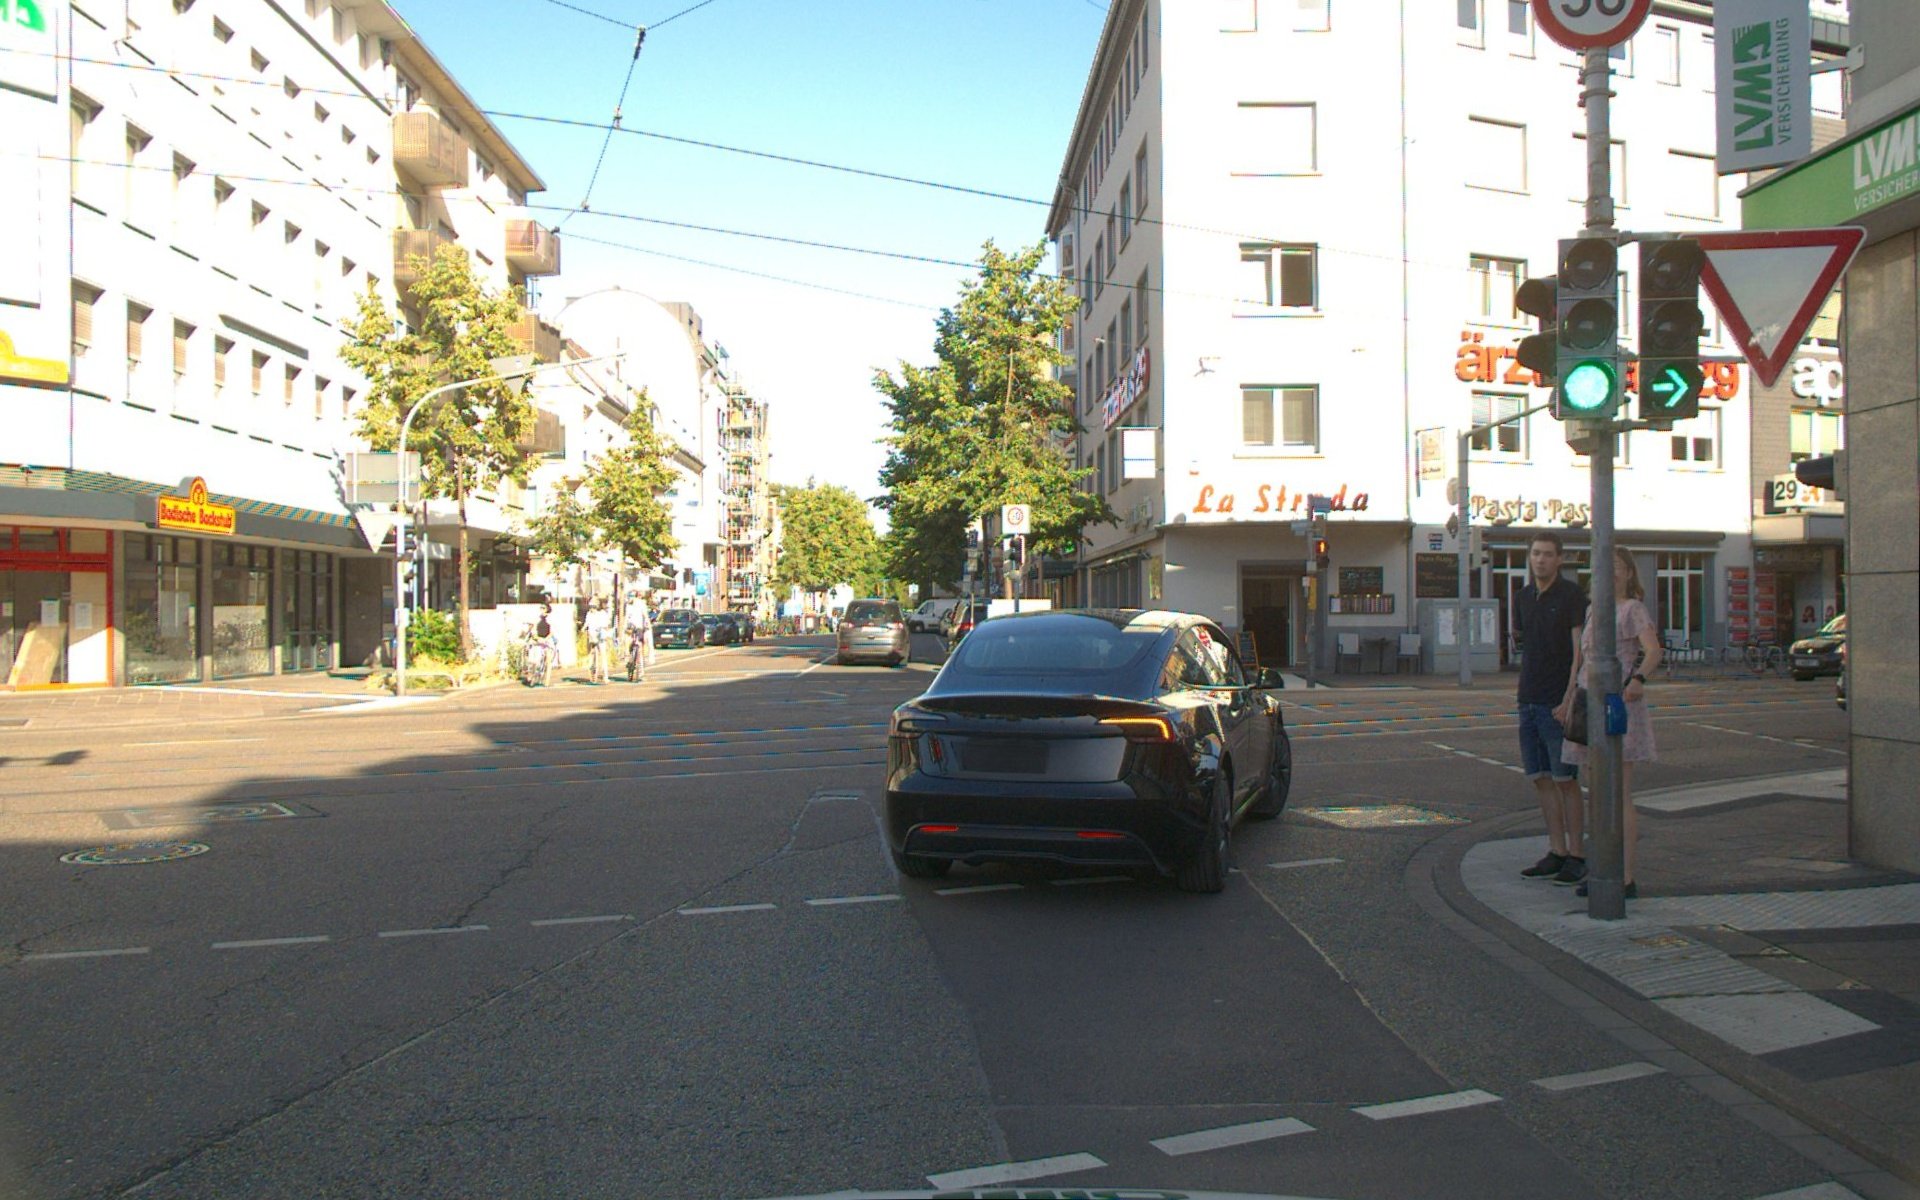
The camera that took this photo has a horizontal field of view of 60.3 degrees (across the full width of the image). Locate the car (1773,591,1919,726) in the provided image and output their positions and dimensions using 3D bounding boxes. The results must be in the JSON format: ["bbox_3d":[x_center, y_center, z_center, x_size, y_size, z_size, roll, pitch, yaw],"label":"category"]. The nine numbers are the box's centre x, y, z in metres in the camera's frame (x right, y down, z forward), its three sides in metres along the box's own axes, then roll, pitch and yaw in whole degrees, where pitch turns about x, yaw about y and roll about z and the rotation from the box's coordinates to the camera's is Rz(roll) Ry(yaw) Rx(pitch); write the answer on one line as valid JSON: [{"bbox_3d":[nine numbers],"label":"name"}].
[{"bbox_3d":[11.791,0.656,19.524,4.289,1.443,1.752,1,-1,-27],"label":"car"}]

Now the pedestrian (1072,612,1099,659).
[{"bbox_3d":[3.818,1.075,50.403,0.716,1.384,0.958,-1,-1,-2],"label":"pedestrian"}]

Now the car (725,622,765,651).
[{"bbox_3d":[-11.109,1.877,85.781,1.750,1.427,3.903,0,-1,-3],"label":"car"}]

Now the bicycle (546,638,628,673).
[{"bbox_3d":[-11.065,1.633,49.053,2.356,0.975,0.543,0,-1,-14],"label":"bicycle"}]

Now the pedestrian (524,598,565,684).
[{"bbox_3d":[-8.497,0.829,33.821,0.777,1.742,0.651,0,-1,-16],"label":"pedestrian"}]

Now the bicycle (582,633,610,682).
[{"bbox_3d":[-7.669,1.207,34.849,0.542,0.985,1.789,-1,-1,-13],"label":"bicycle"}]

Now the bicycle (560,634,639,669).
[{"bbox_3d":[-11.147,1.582,51.215,2.354,1.023,0.654,-1,-1,-12],"label":"bicycle"}]

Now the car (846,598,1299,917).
[{"bbox_3d":[0.930,0.733,9.977,1.830,1.452,4.367,-1,0,16],"label":"car"}]

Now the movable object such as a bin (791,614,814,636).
[{"bbox_3d":[-10.123,1.609,106.422,1.289,1.432,1.065,-1,-1,-18],"label":"movable object such as a bin"}]

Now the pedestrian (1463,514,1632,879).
[{"bbox_3d":[3.137,0.498,8.881,0.627,1.874,0.681,-1,-1,-2],"label":"pedestrian"}]

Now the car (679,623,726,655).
[{"bbox_3d":[-11.809,1.777,75.960,1.750,1.427,3.903,0,-1,-3],"label":"car"}]

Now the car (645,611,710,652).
[{"bbox_3d":[-11.609,1.289,68.114,1.952,1.626,4.000,0,-1,0],"label":"car"}]

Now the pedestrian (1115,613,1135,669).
[{"bbox_3d":[4.036,1.001,40.422,0.477,1.345,0.654,-1,-1,6],"label":"pedestrian"}]

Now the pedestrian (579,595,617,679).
[{"bbox_3d":[-7.673,0.785,35.054,0.765,1.758,0.557,0,-1,-16],"label":"pedestrian"}]

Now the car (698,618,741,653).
[{"bbox_3d":[-11.740,1.700,80.917,1.683,1.638,3.596,-1,-1,-2],"label":"car"}]

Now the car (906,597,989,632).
[{"bbox_3d":[-0.835,0.930,106.938,5.283,2.183,1.999,-1,-1,-3],"label":"car"}]

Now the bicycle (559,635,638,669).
[{"bbox_3d":[-10.995,1.575,50.385,2.347,0.995,0.654,-1,-1,-12],"label":"bicycle"}]

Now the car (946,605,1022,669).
[{"bbox_3d":[0.608,0.977,45.318,1.960,1.665,4.287,0,0,-1],"label":"car"}]

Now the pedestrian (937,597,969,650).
[{"bbox_3d":[-0.259,0.863,61.686,0.937,1.949,1.106,-1,-1,15],"label":"pedestrian"}]

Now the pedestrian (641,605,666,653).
[{"bbox_3d":[-13.584,1.279,73.279,0.936,2.048,1.085,-3,0,-15],"label":"pedestrian"}]

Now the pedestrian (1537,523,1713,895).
[{"bbox_3d":[3.345,0.529,8.358,0.561,1.790,0.649,-2,-1,-2],"label":"pedestrian"}]

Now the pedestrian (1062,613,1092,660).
[{"bbox_3d":[3.471,1.074,49.126,0.716,1.371,1.059,-1,-1,-4],"label":"pedestrian"}]

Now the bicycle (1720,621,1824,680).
[{"bbox_3d":[18.633,1.141,38.015,0.763,1.245,2.089,0,0,-30],"label":"bicycle"}]

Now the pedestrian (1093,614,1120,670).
[{"bbox_3d":[3.510,0.999,39.630,0.574,1.336,0.560,-1,-1,-1],"label":"pedestrian"}]

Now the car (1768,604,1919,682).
[{"bbox_3d":[18.647,0.865,33.738,4.073,1.471,1.705,0,-3,-25],"label":"car"}]

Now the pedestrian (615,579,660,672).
[{"bbox_3d":[-6.825,0.524,35.002,0.765,1.899,0.997,-3,0,-16],"label":"pedestrian"}]

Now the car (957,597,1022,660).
[{"bbox_3d":[0.877,0.868,51.674,1.865,1.884,4.287,0,-1,-1],"label":"car"}]

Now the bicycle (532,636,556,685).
[{"bbox_3d":[-8.594,1.236,34.149,0.472,0.972,1.449,-1,-1,-15],"label":"bicycle"}]

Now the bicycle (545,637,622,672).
[{"bbox_3d":[-10.989,1.579,48.334,2.182,0.975,0.653,0,-1,-14],"label":"bicycle"}]

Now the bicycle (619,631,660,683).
[{"bbox_3d":[-6.795,1.195,35.000,0.745,1.025,1.719,-3,0,-13],"label":"bicycle"}]

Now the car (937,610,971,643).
[{"bbox_3d":[-0.357,1.508,95.253,1.953,1.856,3.999,0,-1,-1],"label":"car"}]

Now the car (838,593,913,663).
[{"bbox_3d":[-2.197,0.733,44.024,1.865,1.764,4.287,0,-1,-1],"label":"car"}]

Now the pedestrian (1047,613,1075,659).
[{"bbox_3d":[3.055,1.085,50.225,0.695,1.371,1.059,-1,-1,-4],"label":"pedestrian"}]
